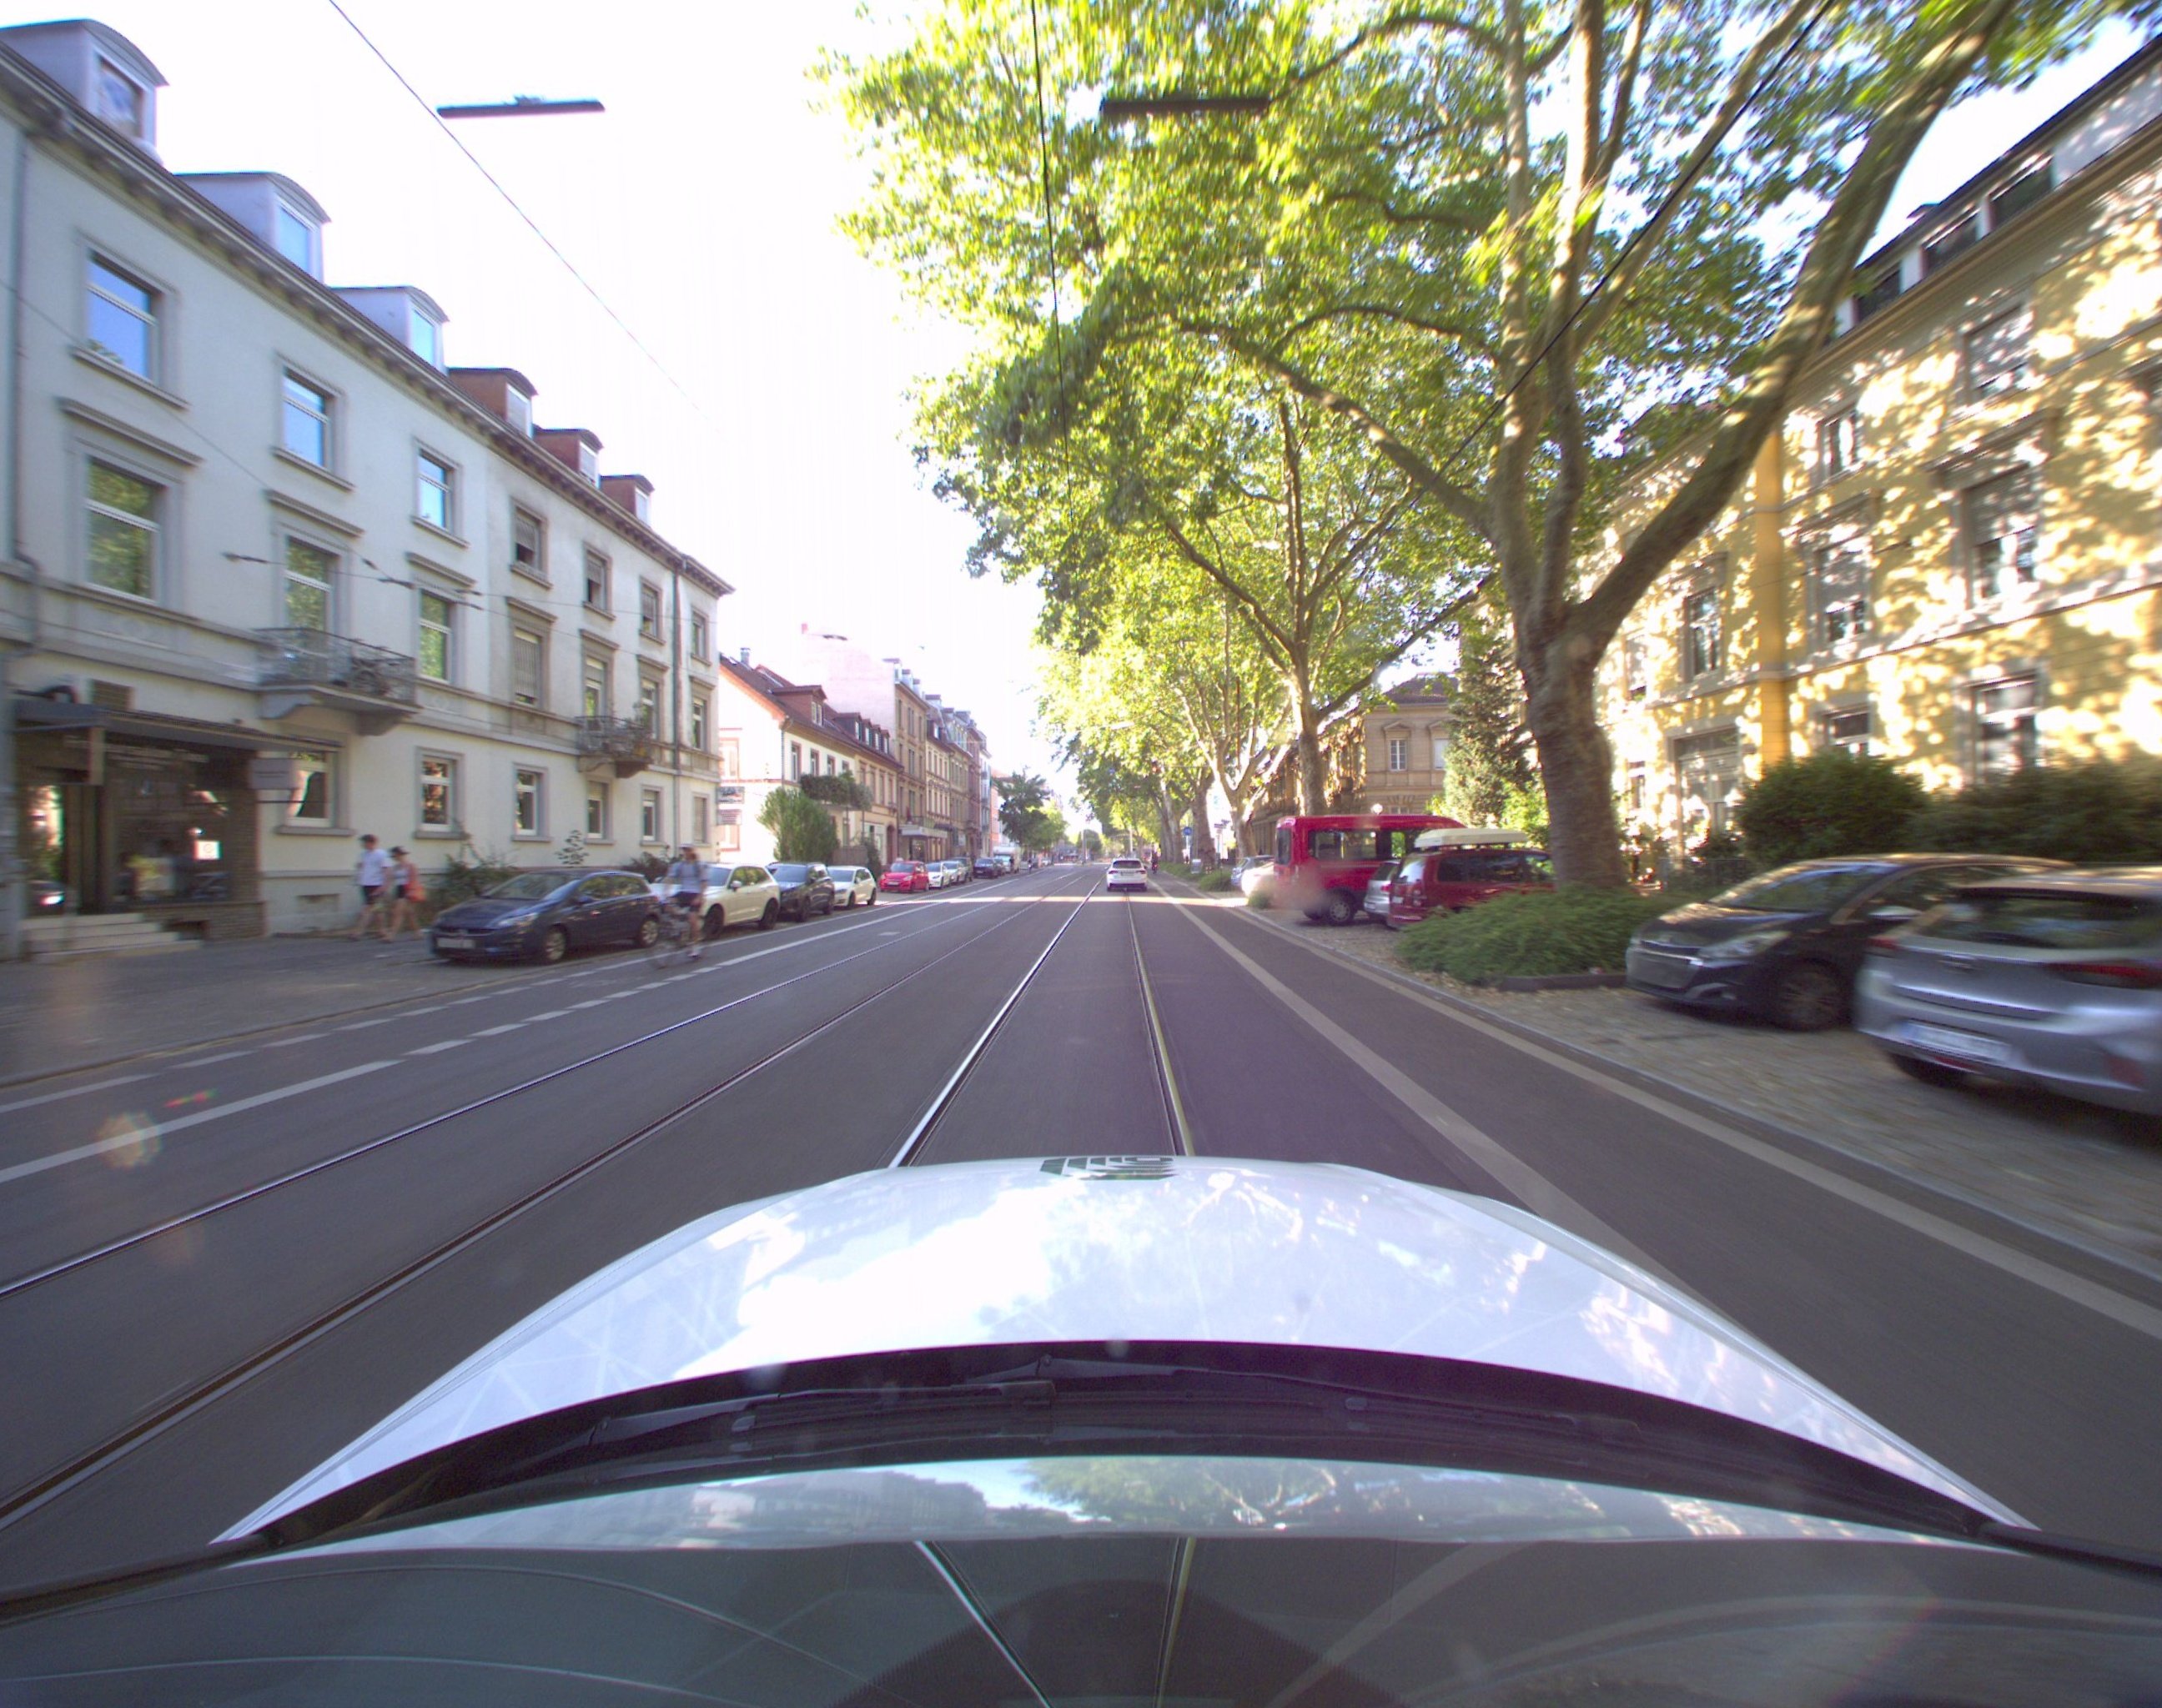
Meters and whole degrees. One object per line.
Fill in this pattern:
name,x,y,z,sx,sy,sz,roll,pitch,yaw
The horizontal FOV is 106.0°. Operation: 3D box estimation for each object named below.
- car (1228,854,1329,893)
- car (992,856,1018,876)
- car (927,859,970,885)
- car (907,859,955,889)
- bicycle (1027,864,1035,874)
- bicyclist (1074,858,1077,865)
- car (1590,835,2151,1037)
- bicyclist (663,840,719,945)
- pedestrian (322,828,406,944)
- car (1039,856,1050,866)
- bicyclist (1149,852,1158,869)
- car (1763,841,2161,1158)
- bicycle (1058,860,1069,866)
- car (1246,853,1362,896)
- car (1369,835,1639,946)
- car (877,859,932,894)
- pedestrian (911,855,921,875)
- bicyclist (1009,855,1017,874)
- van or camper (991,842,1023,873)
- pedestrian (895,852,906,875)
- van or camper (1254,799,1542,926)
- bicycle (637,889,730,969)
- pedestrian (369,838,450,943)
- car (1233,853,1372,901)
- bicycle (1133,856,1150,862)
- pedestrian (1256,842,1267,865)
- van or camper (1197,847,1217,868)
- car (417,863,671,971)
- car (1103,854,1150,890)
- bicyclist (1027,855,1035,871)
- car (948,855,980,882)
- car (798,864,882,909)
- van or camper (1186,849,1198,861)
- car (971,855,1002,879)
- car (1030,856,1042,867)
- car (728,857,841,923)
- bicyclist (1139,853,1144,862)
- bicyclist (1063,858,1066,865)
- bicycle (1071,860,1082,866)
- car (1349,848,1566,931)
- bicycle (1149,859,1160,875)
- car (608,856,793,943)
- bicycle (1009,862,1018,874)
car,7.962,0.760,33.025,3.737,1.508,1.682,1,0,1
car,-6.779,1.033,73.014,1.958,1.781,4.470,0,0,0
car,-8.173,1.096,50.554,1.821,1.502,4.450,0,0,1
car,-8.258,1.071,45.294,1.821,1.502,4.687,0,0,-1
bicycle,-4.709,1.393,76.836,0.497,0.943,1.923,-3,0,3
bicyclist,-1.319,1.745,192.101,0.635,1.522,0.603,-2,0,-33
car,7.274,0.702,7.814,3.657,1.523,1.694,-3,0,1
bicyclist,-6.270,0.601,13.111,0.471,1.636,0.800,-1,0,2
pedestrian,-12.837,0.555,14.608,0.757,2.014,0.830,-1,0,-1
car,-6.706,1.243,148.566,1.788,1.726,3.784,0,0,0
bicyclist,5.676,0.528,63.439,0.676,1.339,0.525,0,-1,1
car,6.693,0.706,4.969,3.582,1.517,1.694,-3,0,1
bicycle,-4.045,2.039,190.503,2.699,1.327,0.609,-1,0,-33
car,8.159,0.737,30.005,3.744,1.387,1.679,-2,0,-4
car,7.323,0.620,14.369,3.808,1.649,1.766,-3,-2,-2
car,-8.581,1.061,39.847,1.561,1.562,3.454,-1,0,5
pedestrian,-11.716,0.775,57.788,0.636,1.460,0.654,0,-1,-15
bicyclist,-6.102,0.941,72.784,0.533,1.634,0.897,-3,-1,3
van or camper,-7.641,0.342,84.841,2.207,3.140,7.119,0,0,3
pedestrian,-12.743,0.664,57.451,0.773,1.634,0.654,0,-1,-14
van or camper,7.257,0.175,19.126,5.798,2.519,2.287,-3,0,-1
bicycle,-6.263,1.149,12.933,0.479,1.086,1.847,-1,0,3
pedestrian,-12.033,0.641,14.624,0.757,1.821,0.829,-1,0,-2
car,7.517,0.769,27.937,4.268,1.417,1.761,-3,0,3
bicycle,10.214,0.811,137.836,2.749,0.999,0.595,0,-1,16
pedestrian,13.131,-0.035,59.164,0.642,1.633,0.876,0,-1,21
van or camper,15.265,0.487,98.752,2.018,2.464,5.113,0,0,4
car,-8.923,0.953,13.989,1.547,1.515,3.928,-1,0,4
car,1.925,0.772,35.780,1.837,1.480,3.837,0,0,0
bicyclist,-4.734,0.844,76.829,0.635,1.503,1.070,-2,-1,3
car,-7.867,0.957,54.942,1.550,1.732,3.686,0,0,1
car,-8.631,1.117,29.529,1.680,1.477,4.259,0,0,2
van or camper,22.361,0.155,164.508,1.986,2.343,4.002,0,0,2
car,-7.723,1.031,66.914,1.958,1.781,4.937,2,0,0
car,-6.940,1.150,125.240,1.636,1.726,3.784,0,0,0
car,-8.647,0.970,24.191,1.853,1.703,4.653,-1,0,-3
bicyclist,10.259,0.609,137.831,0.731,1.589,0.589,-1,-1,14
bicyclist,-3.866,1.749,190.662,0.635,1.522,0.603,-2,0,-33
bicycle,-1.081,2.089,192.237,2.699,1.327,0.609,-1,0,-33
car,7.742,0.700,16.973,3.724,1.530,1.668,-2,0,-2
bicycle,5.677,0.996,63.144,0.677,1.155,2.965,0,0,2
car,-8.575,0.934,18.905,1.849,1.703,4.765,-1,0,2
bicycle,-6.002,1.252,72.798,0.482,1.047,2.041,-3,0,3
